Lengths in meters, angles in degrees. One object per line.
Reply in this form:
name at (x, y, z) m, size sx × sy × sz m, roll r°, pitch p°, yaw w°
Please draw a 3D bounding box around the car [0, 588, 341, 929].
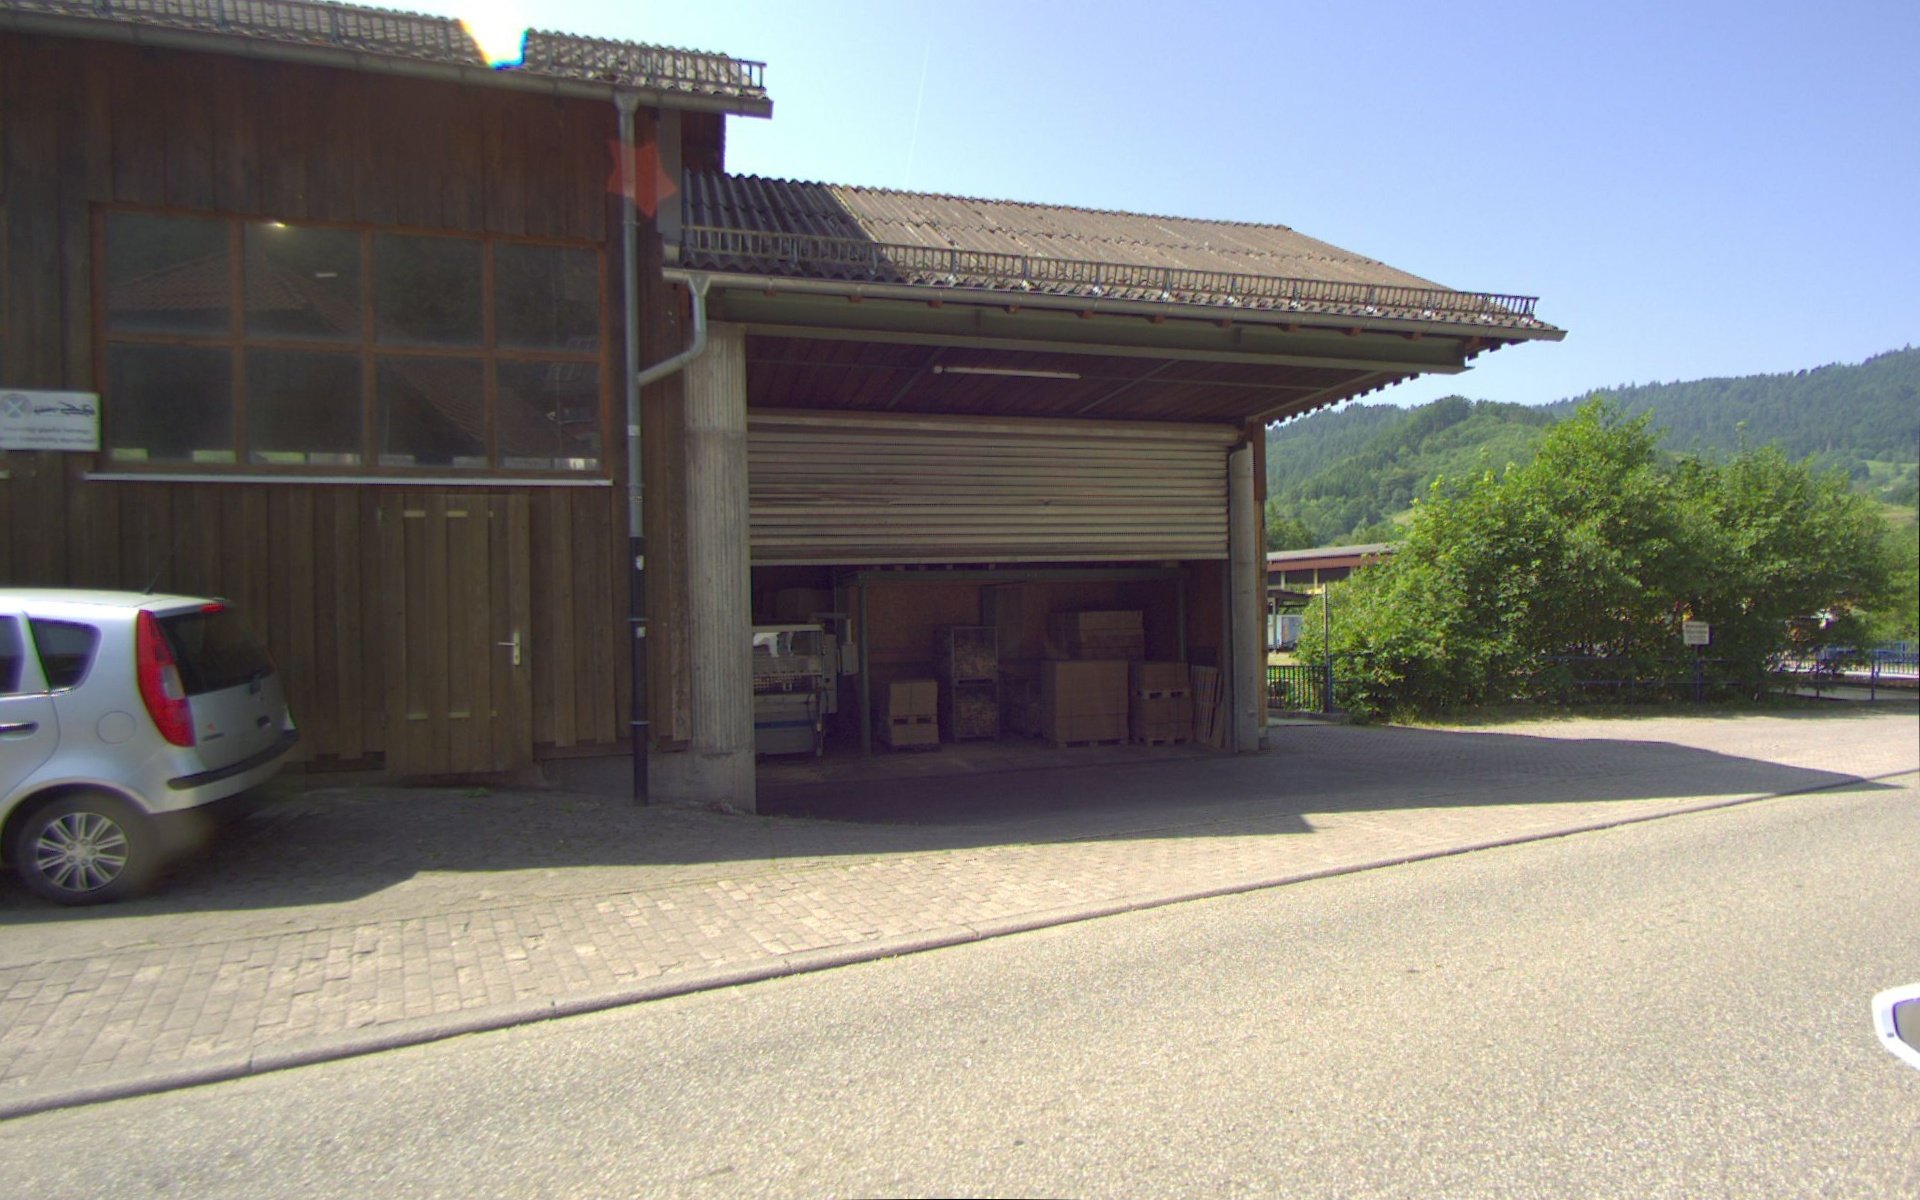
car at (-5.765, 0.749, 5.289) m, size 3.956 × 1.591 × 1.580 m, roll 0°, pitch 2°, yaw -16°
